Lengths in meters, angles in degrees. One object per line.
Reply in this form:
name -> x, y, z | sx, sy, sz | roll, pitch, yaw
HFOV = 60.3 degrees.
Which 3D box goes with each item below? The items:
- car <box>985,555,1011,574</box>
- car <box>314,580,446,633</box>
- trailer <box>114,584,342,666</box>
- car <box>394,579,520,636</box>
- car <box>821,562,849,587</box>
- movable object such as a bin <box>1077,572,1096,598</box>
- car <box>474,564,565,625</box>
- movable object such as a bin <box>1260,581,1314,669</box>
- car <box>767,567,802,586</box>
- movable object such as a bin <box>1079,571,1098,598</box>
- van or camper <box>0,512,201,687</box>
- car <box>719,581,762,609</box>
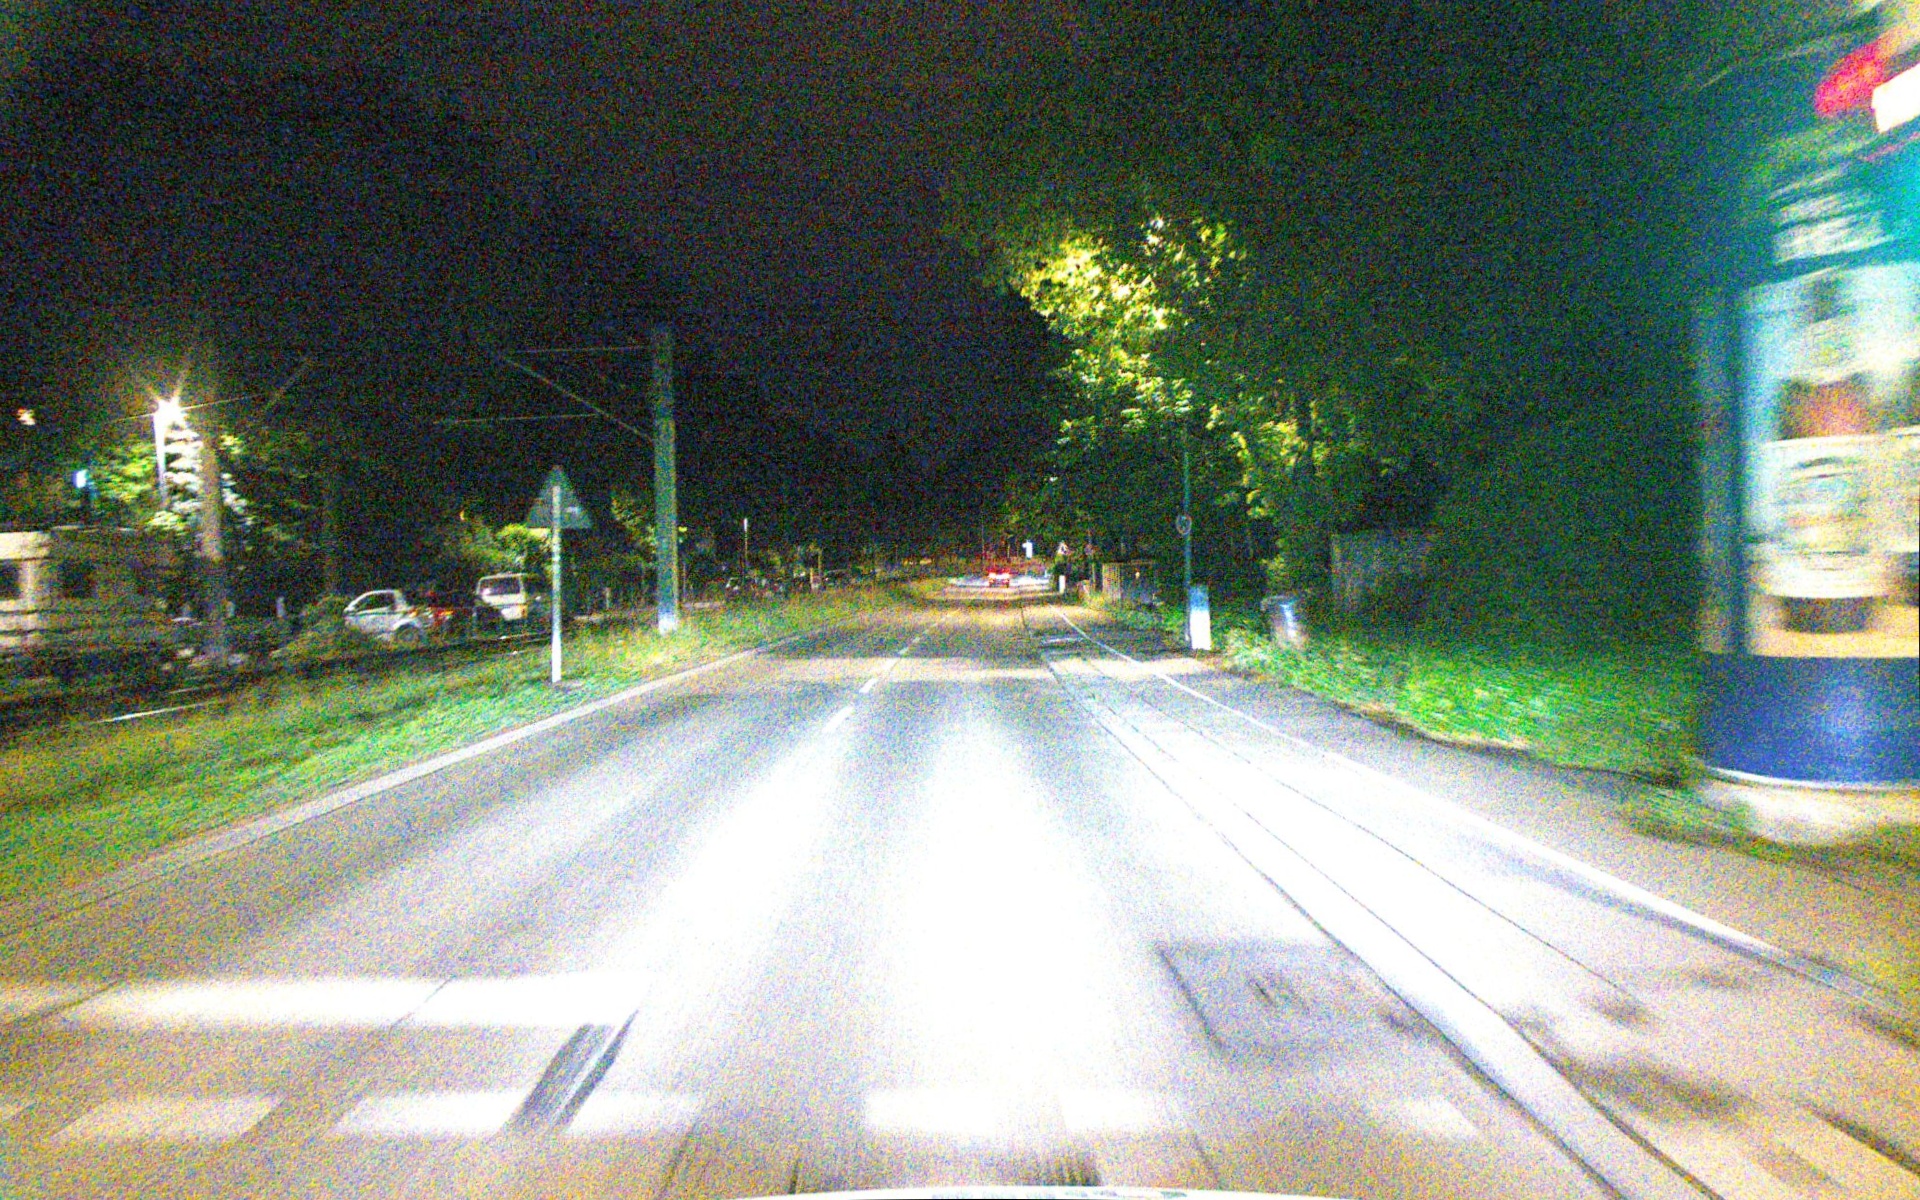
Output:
car -> 3.326, -3.093, 146.231 | 2.118, 1.610, 4.012 | -1, 1, -2
car -> -15.415, 0.163, 44.073 | 2.968, 1.349, 1.533 | -1, 1, -4
trailer -> -15.545, 0.483, 35.456 | 2.369, 1.398, 4.659 | -5, 1, 6
car -> -14.973, 0.183, 49.574 | 1.862, 1.549, 5.174 | -1, 1, 4
car -> -11.605, -2.415, 154.177 | 2.049, 2.048, 4.001 | -5, 1, 1
movable object such as a bin -> 5.678, -0.689, 74.382 | 0.839, 1.139, 0.841 | -1, 1, 4
car -> -14.744, -0.203, 55.650 | 1.819, 1.937, 4.879 | -1, 1, -1
movable object such as a bin -> 4.693, 0.352, 23.760 | 0.708, 1.221, 0.720 | -1, 1, 8
car -> -13.115, -1.744, 123.681 | 1.952, 1.361, 5.433 | -1, 1, 1
movable object such as a bin -> 5.696, -0.686, 73.505 | 0.816, 1.202, 0.829 | -1, 1, 4
van or camper -> -15.498, -0.017, 28.583 | 2.227, 2.693, 5.661 | -3, 1, -3
car -> -13.738, -0.333, 103.877 | 1.952, 1.656, 4.678 | -1, 1, 1
